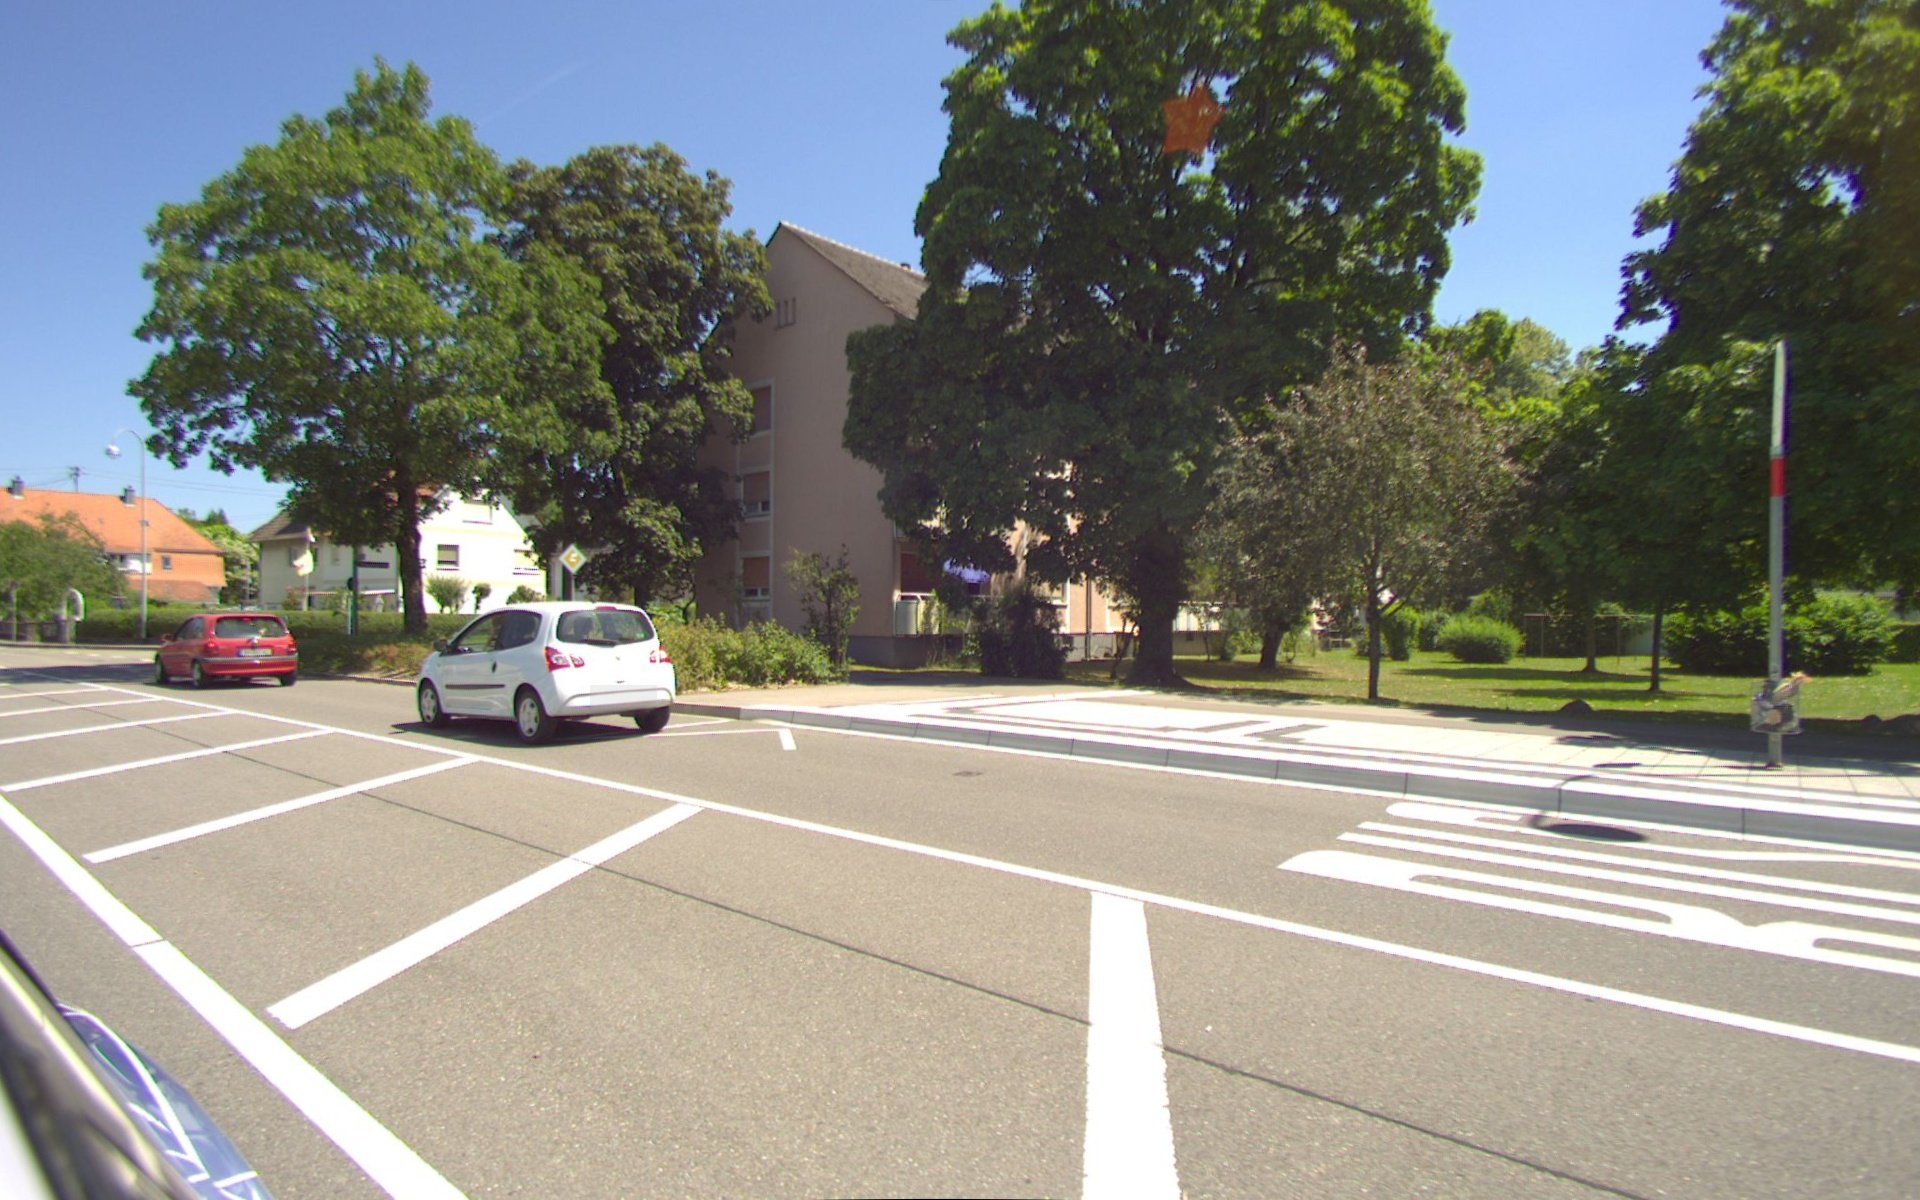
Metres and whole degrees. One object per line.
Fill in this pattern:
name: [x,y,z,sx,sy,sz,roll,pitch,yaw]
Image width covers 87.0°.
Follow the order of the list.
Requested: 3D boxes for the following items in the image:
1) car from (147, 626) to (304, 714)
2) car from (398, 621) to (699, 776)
car: [-14.309,1.289,19.662,3.686,1.461,1.535,0,1,39]
car: [-4.842,1.031,11.731,3.635,1.471,1.674,-2,-1,39]
